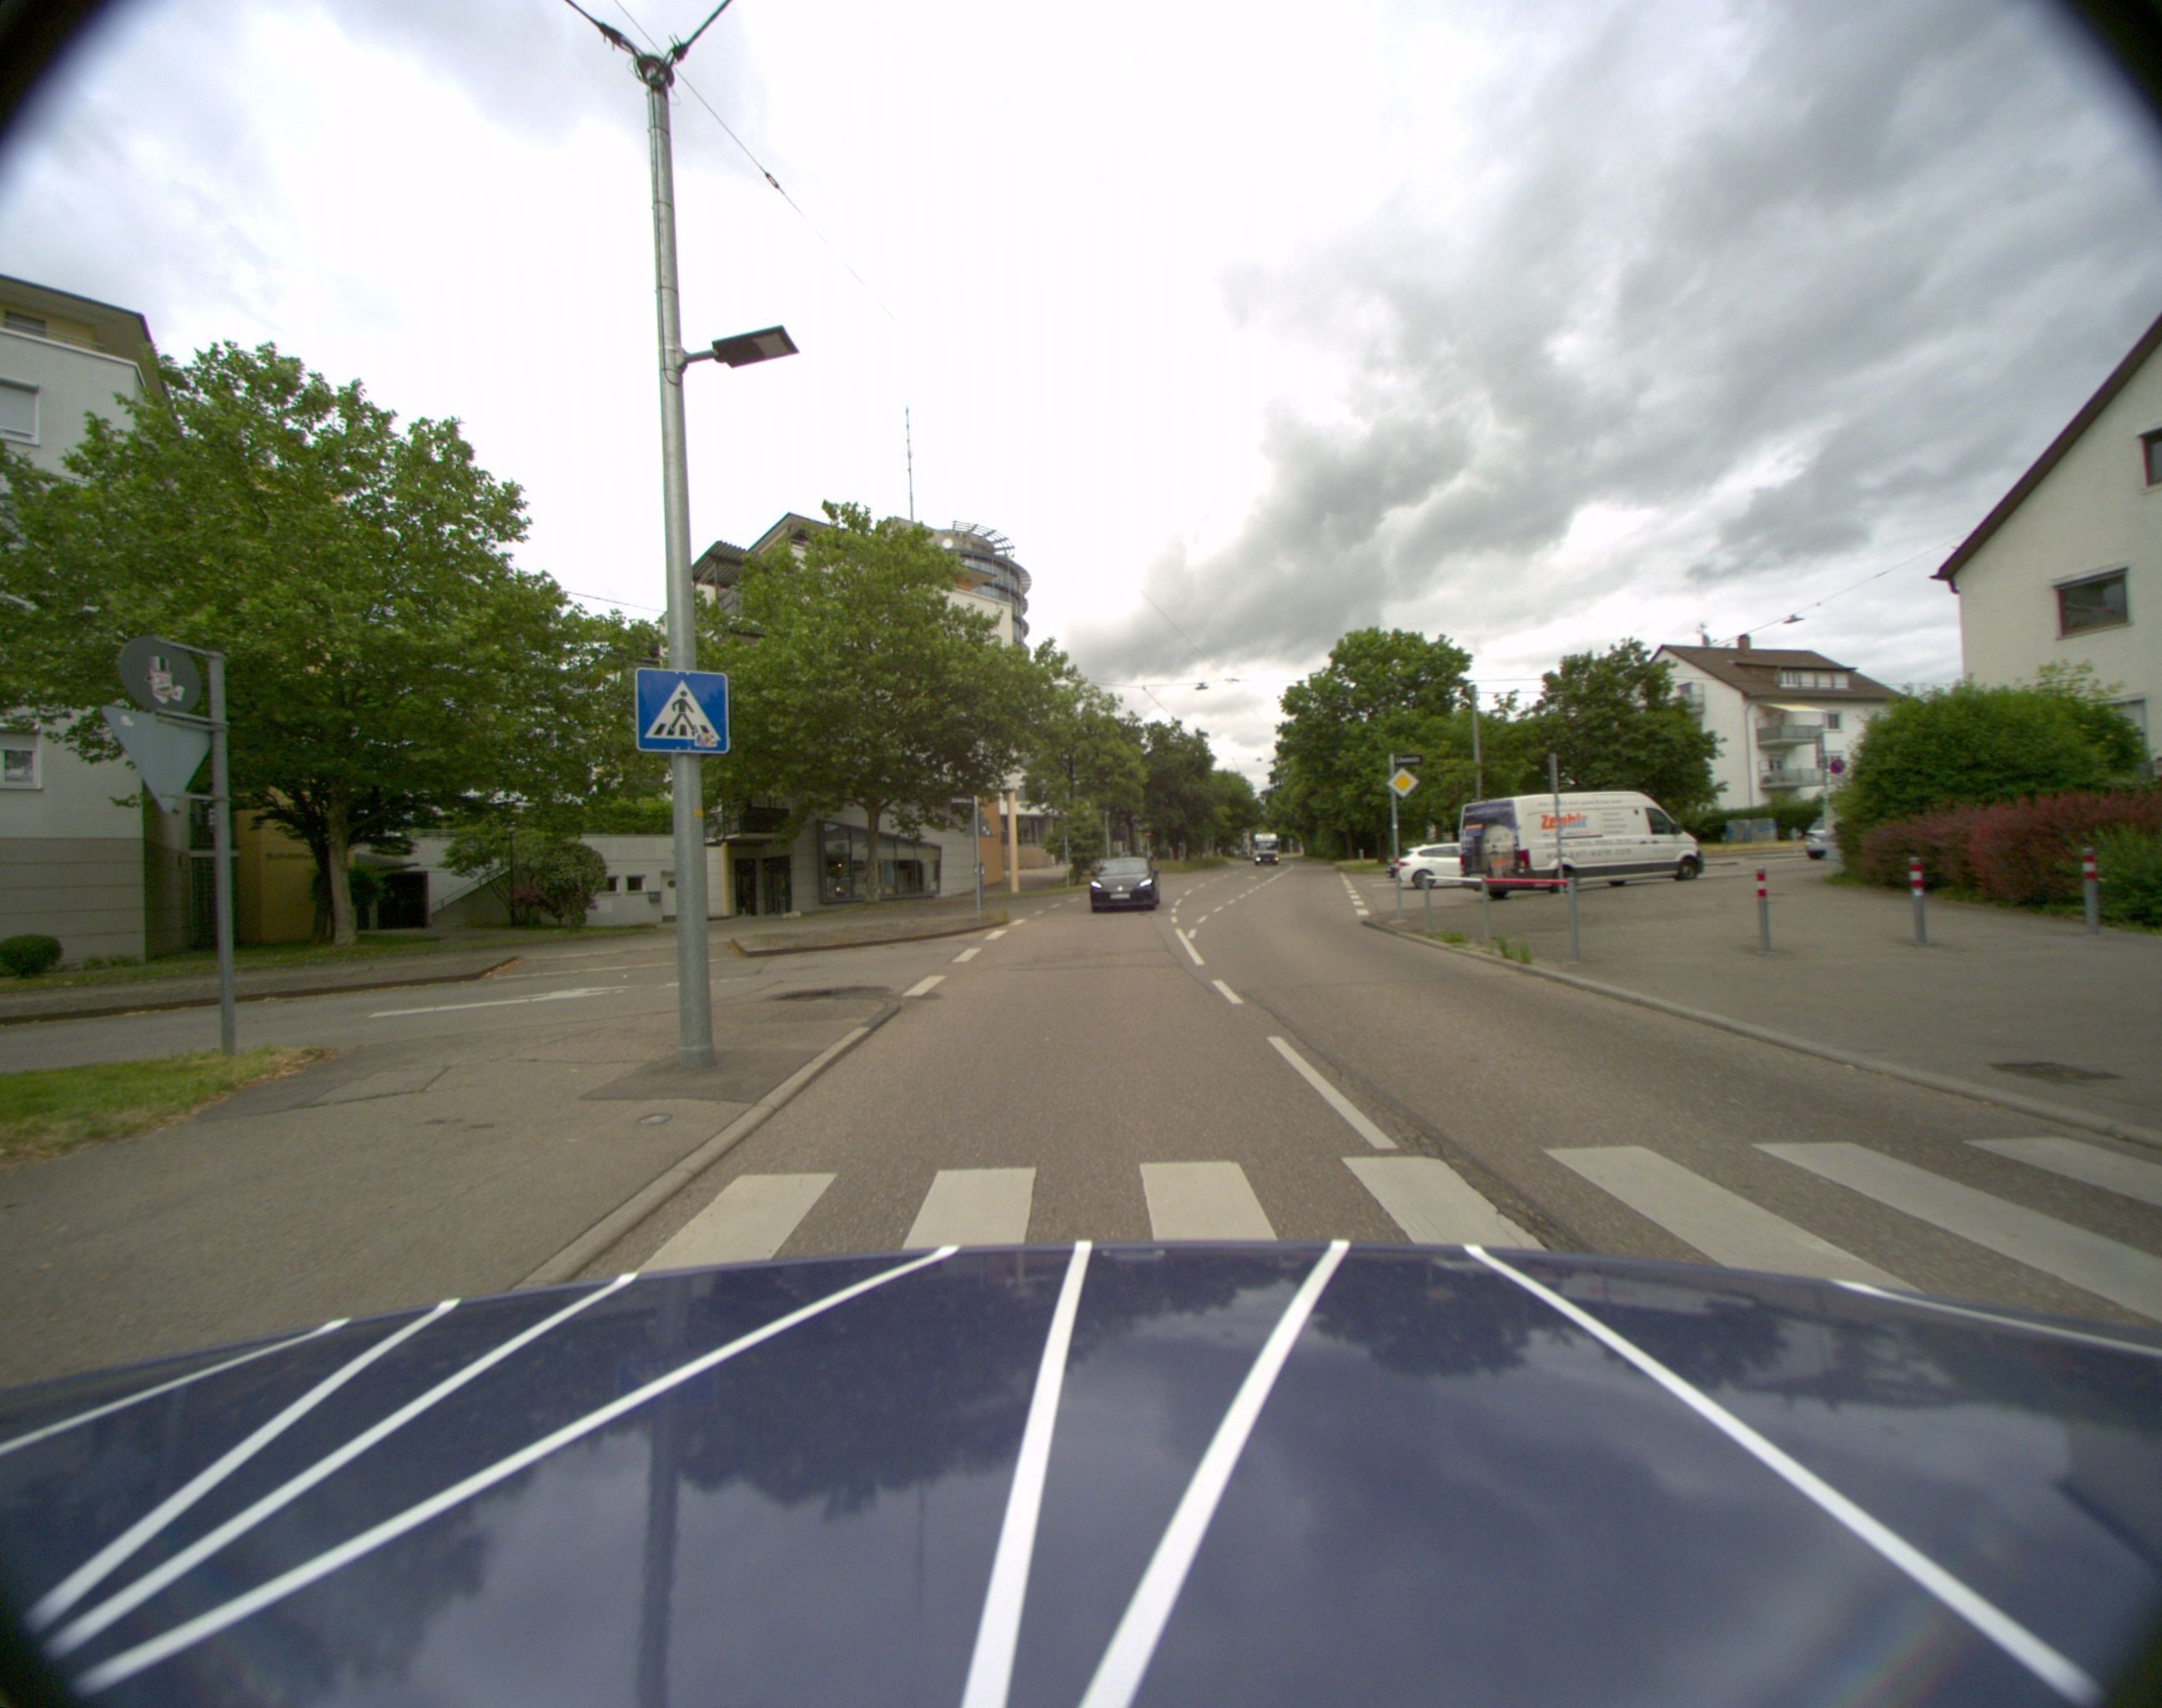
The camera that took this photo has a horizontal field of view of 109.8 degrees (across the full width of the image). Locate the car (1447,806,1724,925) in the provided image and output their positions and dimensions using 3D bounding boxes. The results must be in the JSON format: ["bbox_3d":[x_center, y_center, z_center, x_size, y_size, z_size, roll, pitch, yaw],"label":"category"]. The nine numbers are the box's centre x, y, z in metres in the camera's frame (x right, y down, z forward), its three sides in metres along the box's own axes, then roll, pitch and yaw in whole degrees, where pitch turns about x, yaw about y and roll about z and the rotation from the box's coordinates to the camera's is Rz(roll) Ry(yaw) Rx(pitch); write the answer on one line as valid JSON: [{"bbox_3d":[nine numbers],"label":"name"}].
[{"bbox_3d":[13.048,0.252,19.585,6.986,2.506,2.082,-3,-2,-20],"label":"car"}]

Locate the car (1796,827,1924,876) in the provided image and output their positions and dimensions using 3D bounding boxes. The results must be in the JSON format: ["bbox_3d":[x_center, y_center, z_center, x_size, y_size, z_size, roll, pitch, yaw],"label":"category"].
[{"bbox_3d":[27.945,-0.098,27.247,4.005,1.564,1.926,-2,-1,-25],"label":"car"}]

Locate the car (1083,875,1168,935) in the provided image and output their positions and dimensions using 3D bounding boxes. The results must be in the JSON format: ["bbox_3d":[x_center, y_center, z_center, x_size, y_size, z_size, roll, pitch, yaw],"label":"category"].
[{"bbox_3d":[1.413,1.432,22.375,1.798,1.475,4.024,-1,0,14],"label":"car"}]

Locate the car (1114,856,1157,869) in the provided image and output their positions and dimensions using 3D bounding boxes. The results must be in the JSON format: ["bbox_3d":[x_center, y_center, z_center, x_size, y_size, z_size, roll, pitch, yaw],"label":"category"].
[{"bbox_3d":[6.503,0.994,89.958,4.749,1.508,1.867,-1,0,-27],"label":"car"}]

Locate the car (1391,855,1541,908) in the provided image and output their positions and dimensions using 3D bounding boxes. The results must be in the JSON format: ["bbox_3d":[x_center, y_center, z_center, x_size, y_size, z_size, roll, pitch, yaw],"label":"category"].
[{"bbox_3d":[12.570,0.897,25.063,4.197,1.508,1.804,-3,0,24],"label":"car"}]

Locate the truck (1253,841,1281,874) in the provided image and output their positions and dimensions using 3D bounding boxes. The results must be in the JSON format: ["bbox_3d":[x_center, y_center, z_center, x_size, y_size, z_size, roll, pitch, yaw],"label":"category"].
[{"bbox_3d":[18.942,0.343,77.184,2.433,3.176,6.473,-2,0,15],"label":"truck"}]
